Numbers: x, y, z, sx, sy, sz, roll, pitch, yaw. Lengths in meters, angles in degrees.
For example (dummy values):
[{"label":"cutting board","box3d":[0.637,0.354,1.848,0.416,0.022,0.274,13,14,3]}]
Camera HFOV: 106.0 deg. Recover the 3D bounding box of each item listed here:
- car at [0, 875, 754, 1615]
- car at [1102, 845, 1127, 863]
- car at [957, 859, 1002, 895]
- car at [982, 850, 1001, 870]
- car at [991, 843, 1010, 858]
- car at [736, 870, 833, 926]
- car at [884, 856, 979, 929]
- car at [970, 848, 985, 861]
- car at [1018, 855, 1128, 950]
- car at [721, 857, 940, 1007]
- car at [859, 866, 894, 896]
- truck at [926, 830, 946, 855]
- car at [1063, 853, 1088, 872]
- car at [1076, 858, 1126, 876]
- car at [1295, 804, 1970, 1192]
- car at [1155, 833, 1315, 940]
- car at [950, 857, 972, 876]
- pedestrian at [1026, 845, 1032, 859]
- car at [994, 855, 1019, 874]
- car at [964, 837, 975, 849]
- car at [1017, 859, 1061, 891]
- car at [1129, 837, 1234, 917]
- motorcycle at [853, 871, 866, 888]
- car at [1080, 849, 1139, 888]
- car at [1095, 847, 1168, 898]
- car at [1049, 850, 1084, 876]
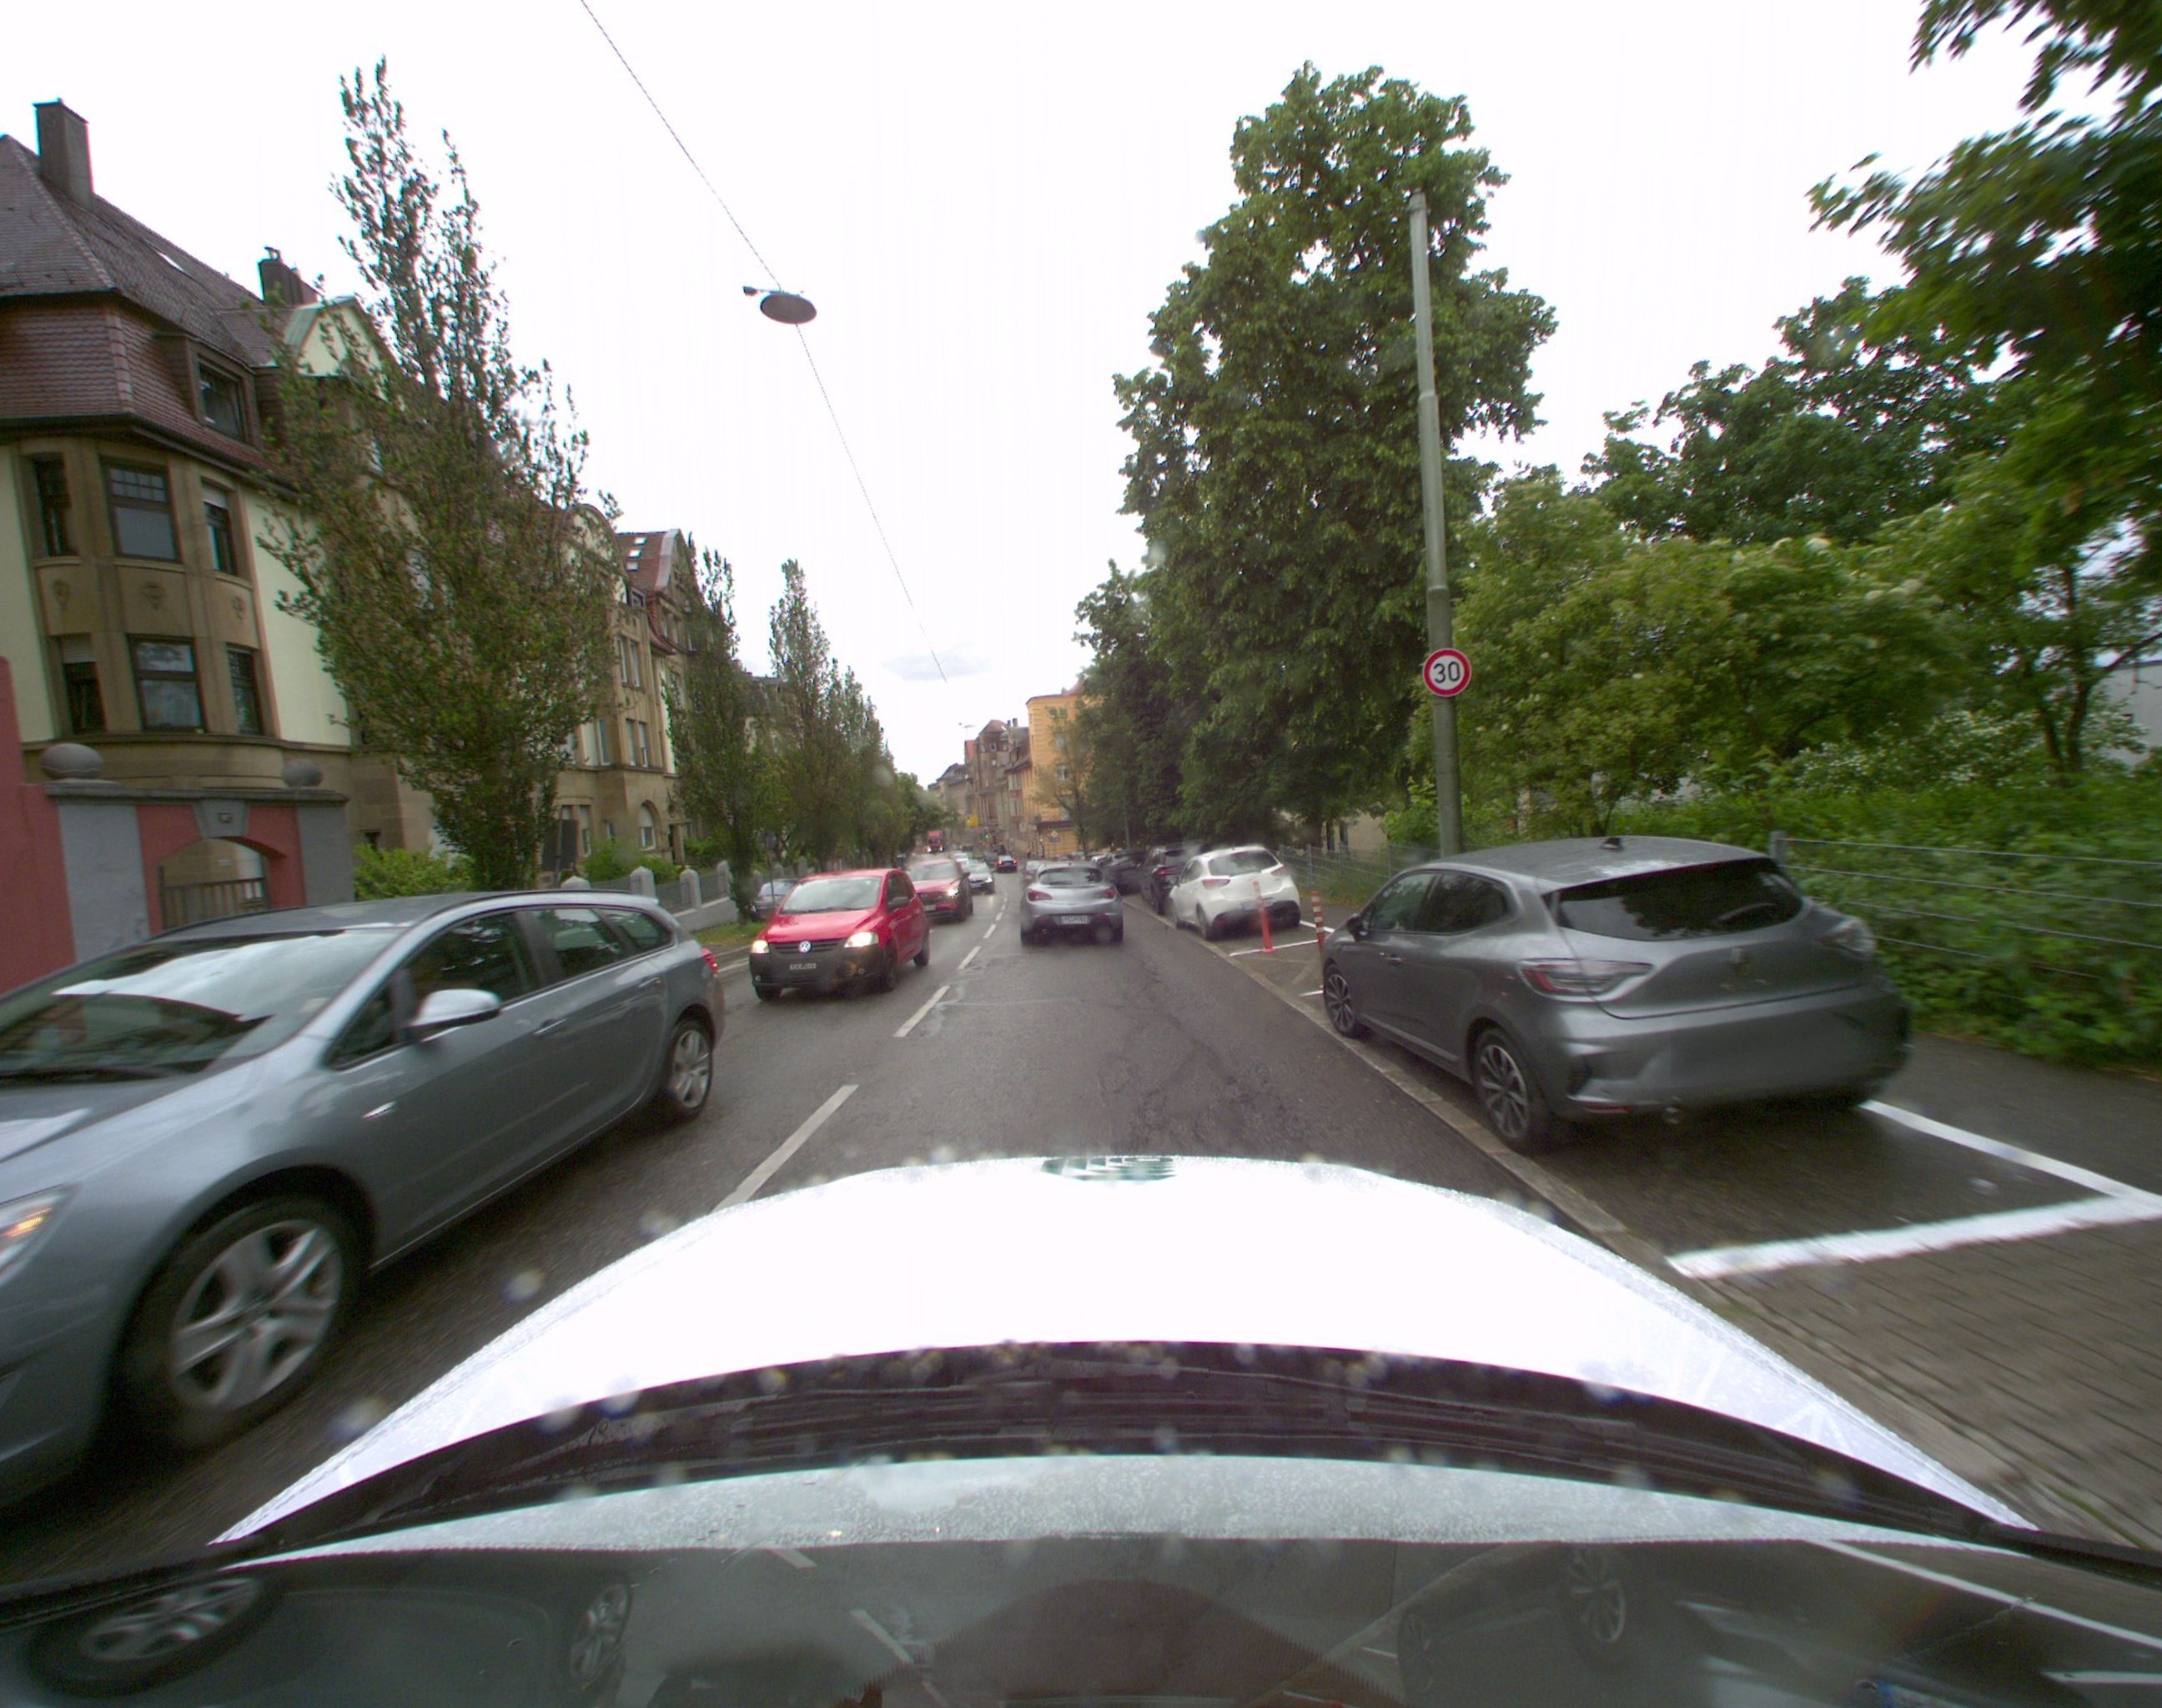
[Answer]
[{"label":"car","box3d":[-3.237,0.937,3.638,1.768,1.497,4.261,-3,0,0]},{"label":"car","box3d":[3.097,-0.013,75.275,1.765,1.429,3.797,-2,2,10]},{"label":"car","box3d":[-4.709,1.036,38.335,1.734,1.473,4.276,-4,0,-3]},{"label":"car","box3d":[-8.976,0.564,81.475,1.640,1.688,3.705,-3,4,-10]},{"label":"car","box3d":[-10.524,-0.435,106.618,1.994,1.688,3.988,-9,1,-9]},{"label":"car","box3d":[-9.754,1.401,27.099,1.810,1.612,3.997,-2,-1,-2]},{"label":"car","box3d":[-3.957,0.952,22.249,1.841,1.583,4.275,-6,0,-3]},{"label":"car","box3d":[-13.026,0.102,102.411,1.641,1.536,3.703,-4,0,-11]},{"label":"car","box3d":[-0.265,0.819,15.831,1.811,1.429,3.995,-3,1,-4]},{"label":"car","box3d":[-3.150,0.884,11.122,1.649,1.568,4.000,-3,0,0]},{"label":"car","box3d":[-13.195,1.717,52.795,1.789,1.651,4.180,-7,1,-11]},{"label":"truck","box3d":[-25.642,-2.081,143.662,2.791,4.131,10.809,-4,3,-12]},{"label":"car","box3d":[-0.438,0.758,73.581,1.767,1.429,3.793,-2,2,6]},{"label":"car","box3d":[1.629,1.103,66.371,3.774,1.430,1.775,1,-2,-11]},{"label":"car","box3d":[2.793,0.601,5.285,1.644,1.404,3.812,-7,0,0]},{"label":"car","box3d":[2.714,0.567,15.388,1.812,1.494,3.993,-9,-1,-5]},{"label":"car","box3d":[-11.945,1.245,81.241,1.821,1.650,3.991,-5,0,-6]},{"label":"pedestrian","box3d":[-5.760,-0.241,90.214,0.612,1.496,0.551,-3,3,-7]},{"label":"car","box3d":[-6.222,0.856,67.604,1.768,1.415,3.704,-2,0,-10]},{"label":"car","box3d":[-18.915,-1.843,138.058,1.782,1.855,3.986,-3,-1,-10]},{"label":"car","box3d":[-2.041,0.977,38.835,1.775,1.430,3.776,-2,-1,-7]},{"label":"car","box3d":[2.467,0.522,21.209,1.817,1.683,4.799,-6,0,-2]},{"label":"motorcycle","box3d":[-16.707,1.900,61.415,0.559,1.237,1.640,-5,0,-6]},{"label":"car","box3d":[1.222,0.665,37.253,1.974,1.452,4.103,-6,-1,-7]},{"label":"car","box3d":[1.836,0.685,31.095,1.973,1.609,4.476,-6,-1,-5]},{"label":"car","box3d":[-1.056,0.647,56.231,1.814,1.467,3.989,-8,0,-8]}]
